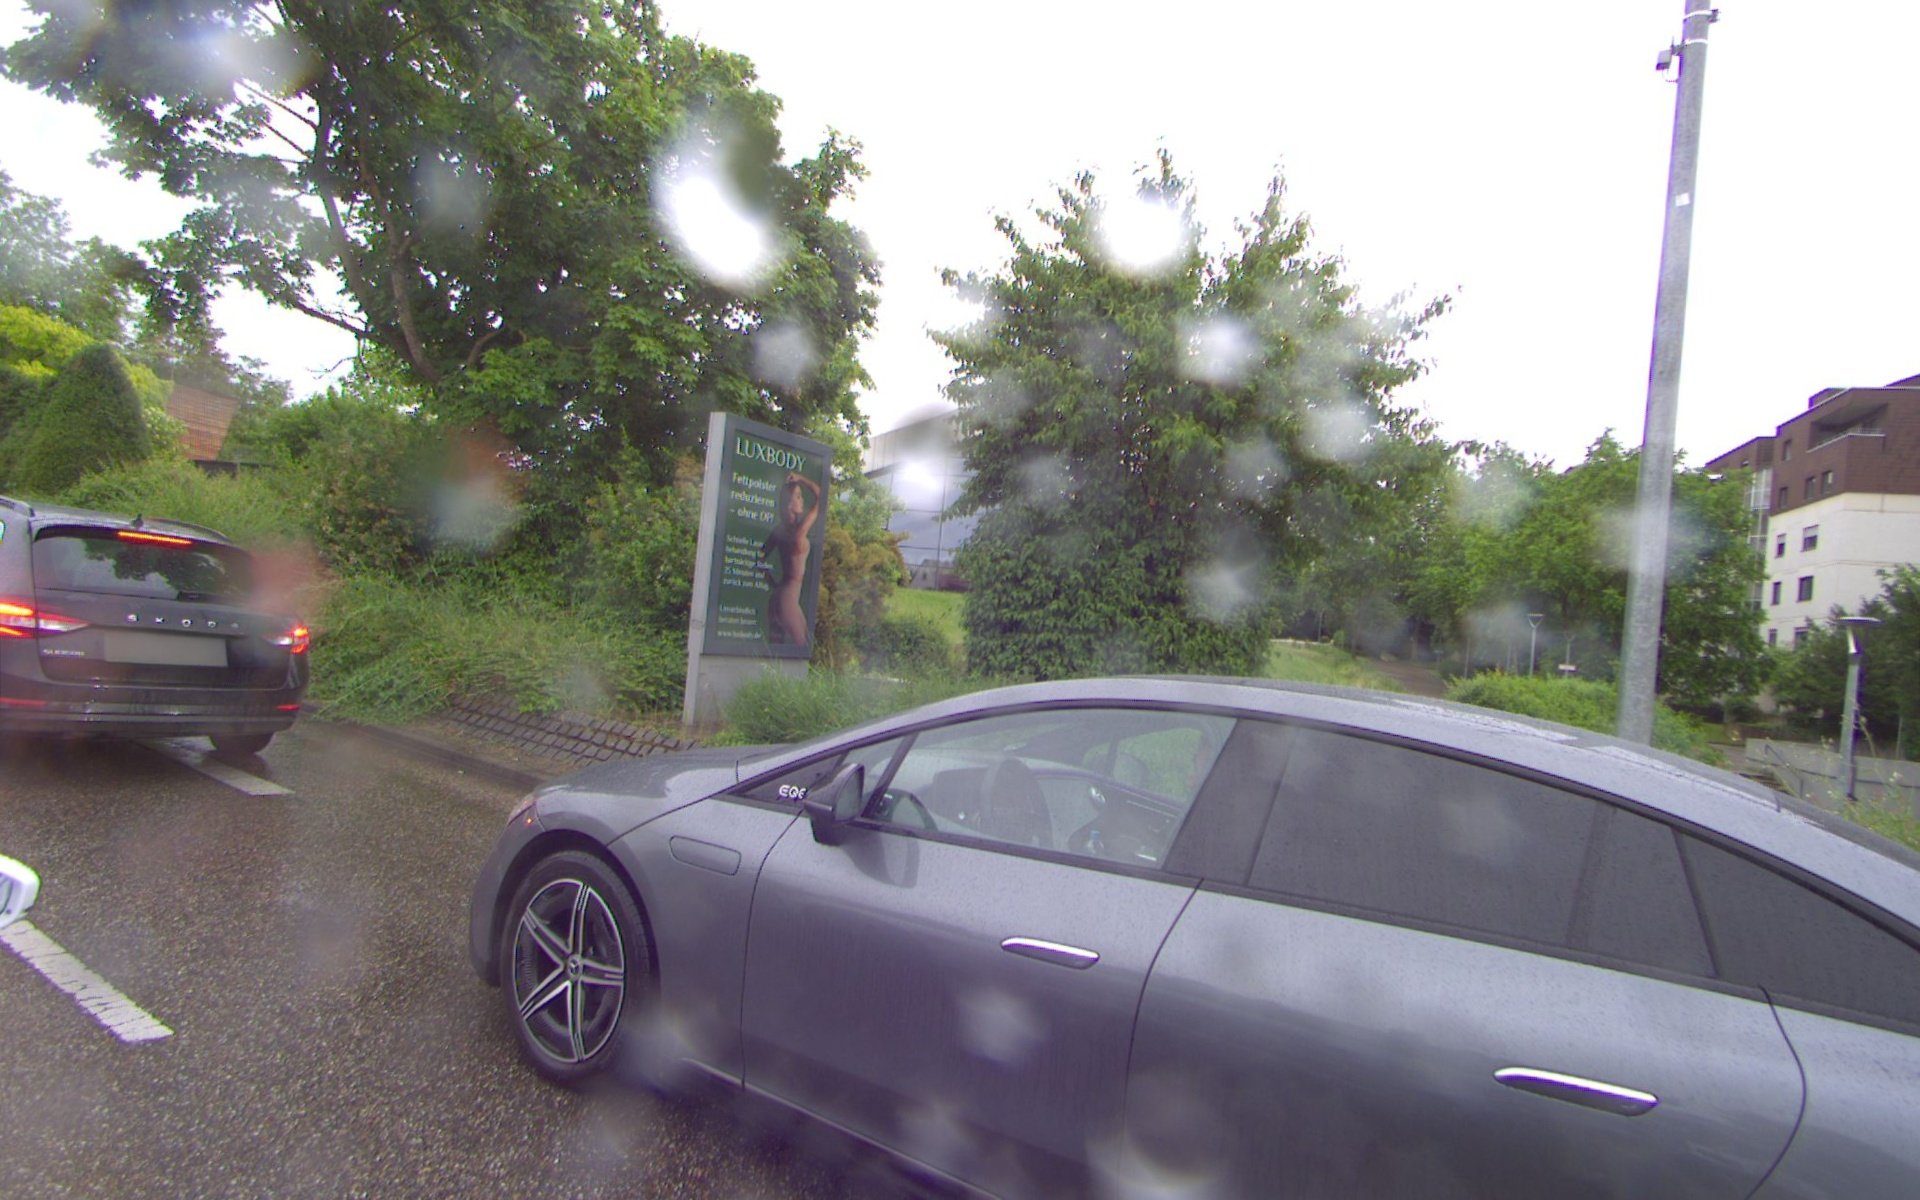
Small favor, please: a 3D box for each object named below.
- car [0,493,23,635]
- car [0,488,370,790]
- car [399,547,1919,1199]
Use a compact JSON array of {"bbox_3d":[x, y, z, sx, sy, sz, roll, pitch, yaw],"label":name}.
[{"bbox_3d":[-12.193,-0.676,10.895,4.048,1.483,1.842,7,-2,31],"label":"car"},{"bbox_3d":[-6.093,0.066,6.754,4.279,1.483,1.841,7,-2,33],"label":"car"},{"bbox_3d":[0.694,0.910,2.928,4.728,1.483,1.842,7,-2,31],"label":"car"}]
